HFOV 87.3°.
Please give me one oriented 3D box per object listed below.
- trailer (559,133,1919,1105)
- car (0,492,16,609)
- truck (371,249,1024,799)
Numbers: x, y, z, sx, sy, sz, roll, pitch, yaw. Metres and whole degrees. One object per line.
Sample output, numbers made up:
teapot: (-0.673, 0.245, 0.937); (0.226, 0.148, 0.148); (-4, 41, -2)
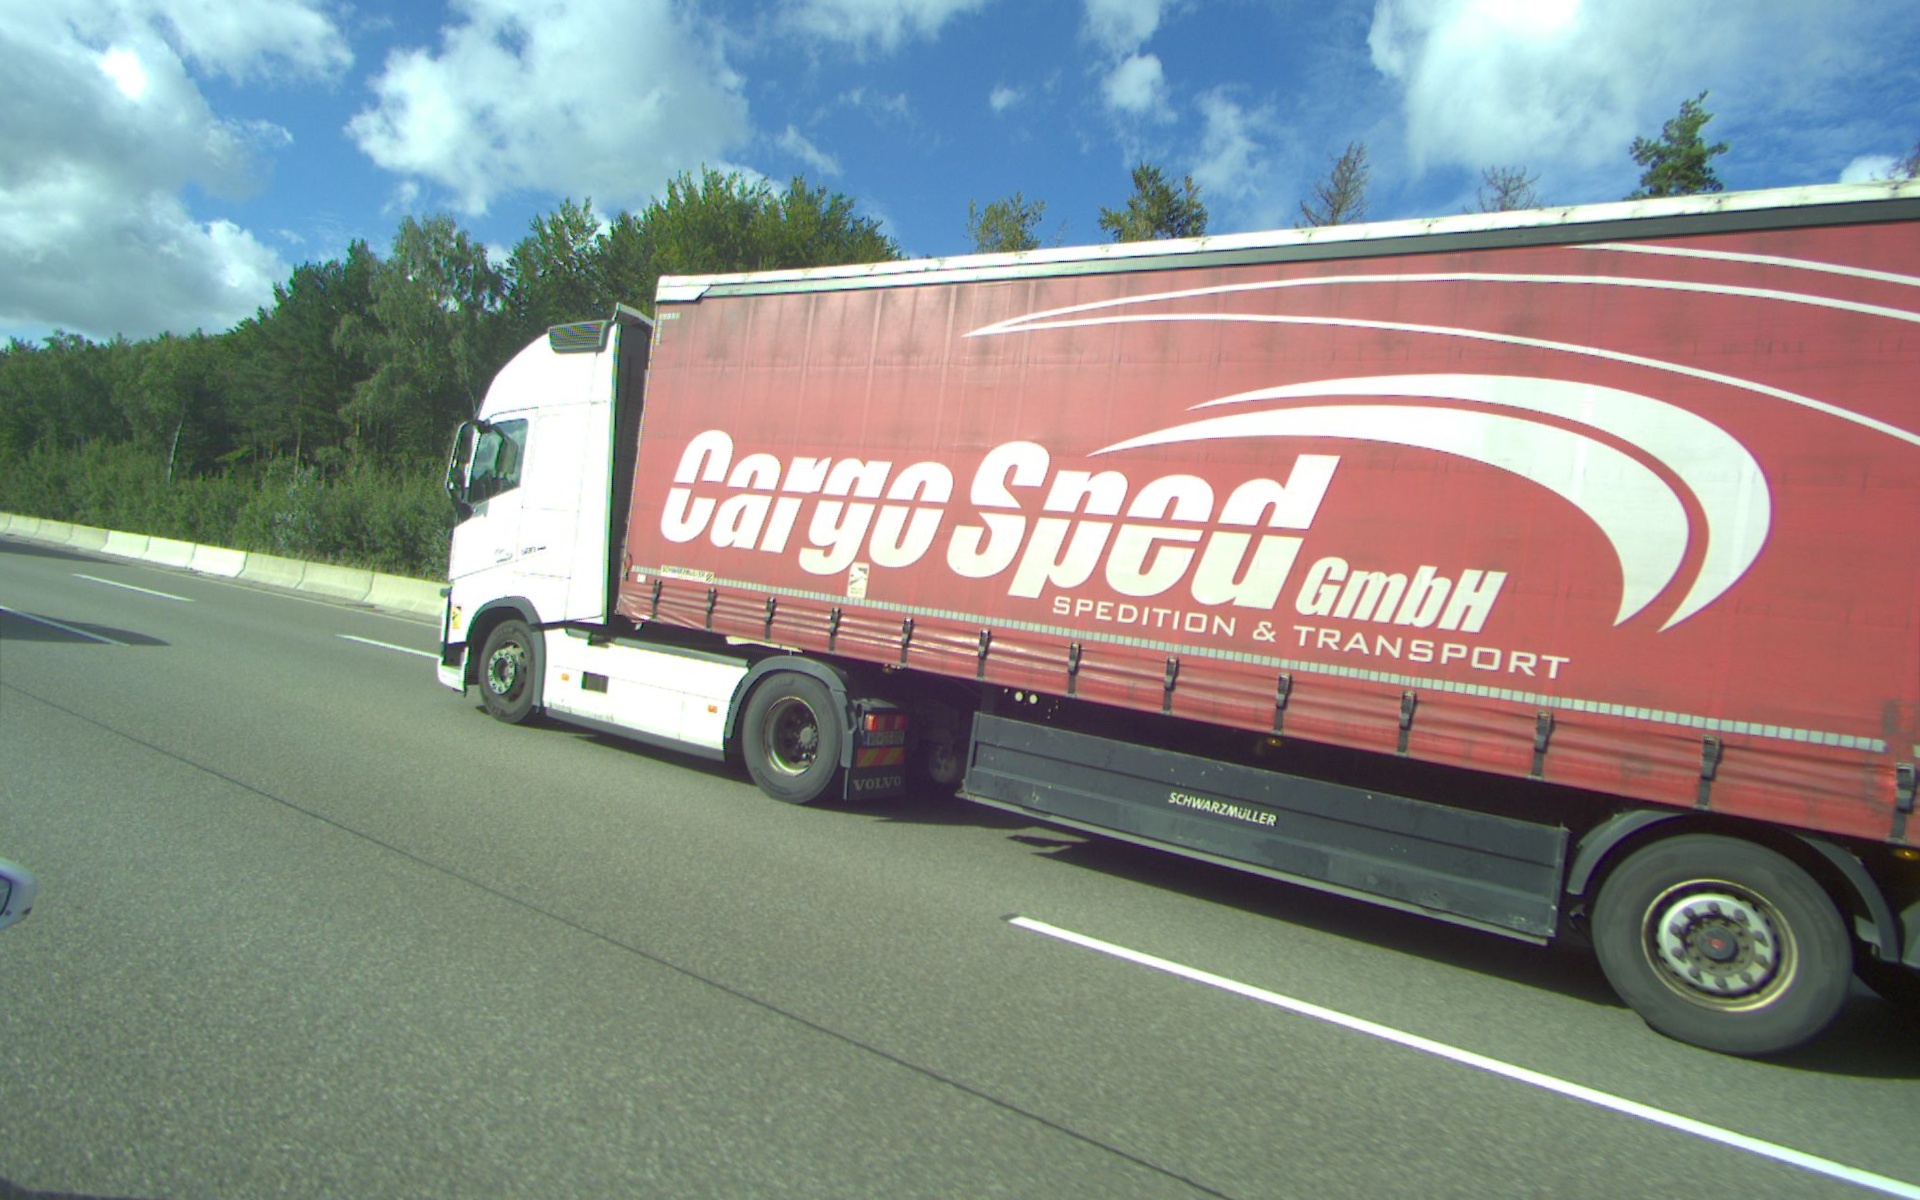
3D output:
trailer: (3.166, -0.033, 6.424); (13.485, 4.094, 2.778); (7, -1, 31)
car: (-12.864, -0.718, 11.546); (4.384, 1.548, 1.776); (7, -1, 32)
truck: (-2.728, -0.725, 10.098); (5.677, 4.094, 2.778); (7, 0, 31)
